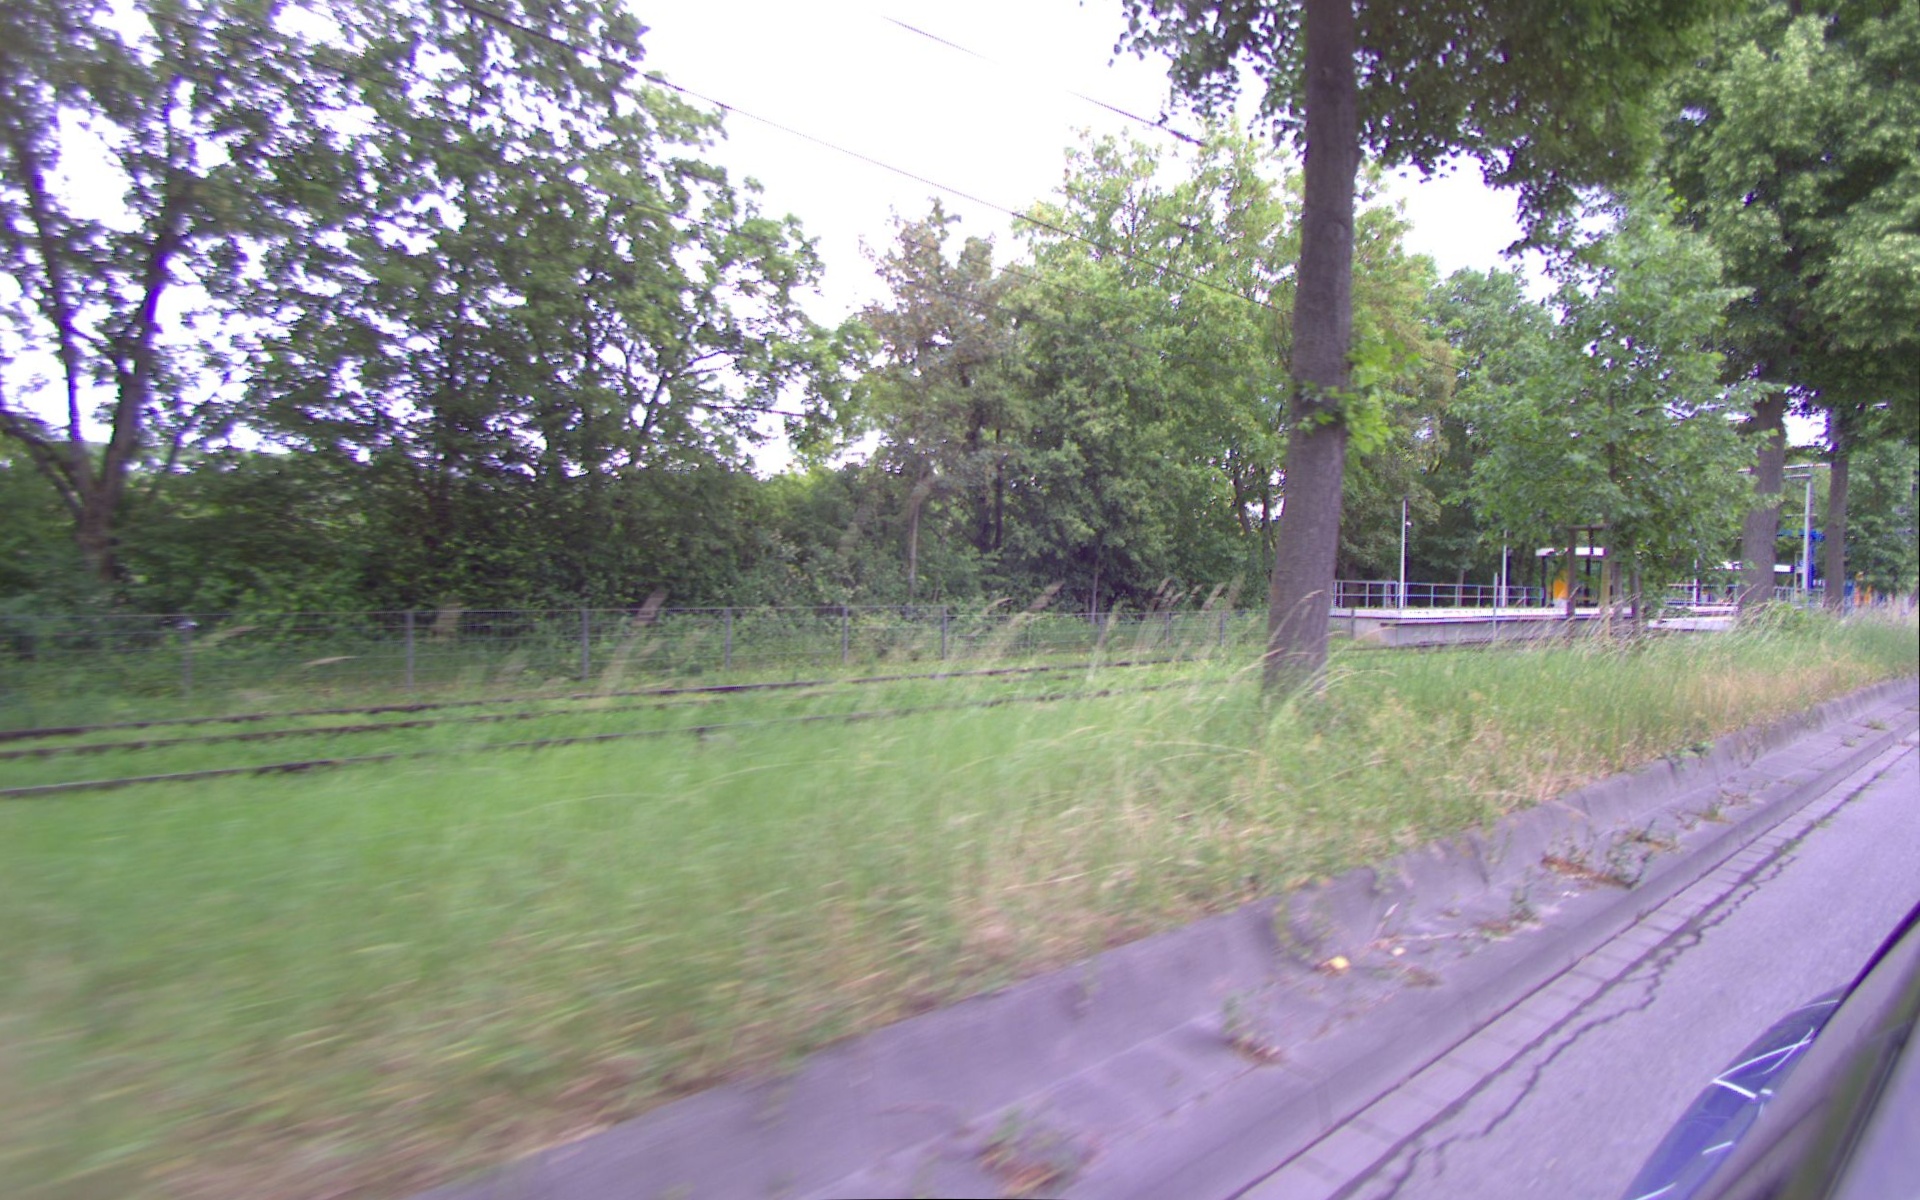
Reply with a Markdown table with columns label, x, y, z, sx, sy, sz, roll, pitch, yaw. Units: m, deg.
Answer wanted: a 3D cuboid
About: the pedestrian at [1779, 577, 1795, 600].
| label | x | y | z | sx | sy | sz | roll | pitch | yaw |
| --- | --- | --- | --- | --- | --- | --- | --- | --- | --- |
| pedestrian | 56.424 | -0.764 | 69.064 | 0.711 | 1.530 | 0.720 | -1 | 0 | -38 |
